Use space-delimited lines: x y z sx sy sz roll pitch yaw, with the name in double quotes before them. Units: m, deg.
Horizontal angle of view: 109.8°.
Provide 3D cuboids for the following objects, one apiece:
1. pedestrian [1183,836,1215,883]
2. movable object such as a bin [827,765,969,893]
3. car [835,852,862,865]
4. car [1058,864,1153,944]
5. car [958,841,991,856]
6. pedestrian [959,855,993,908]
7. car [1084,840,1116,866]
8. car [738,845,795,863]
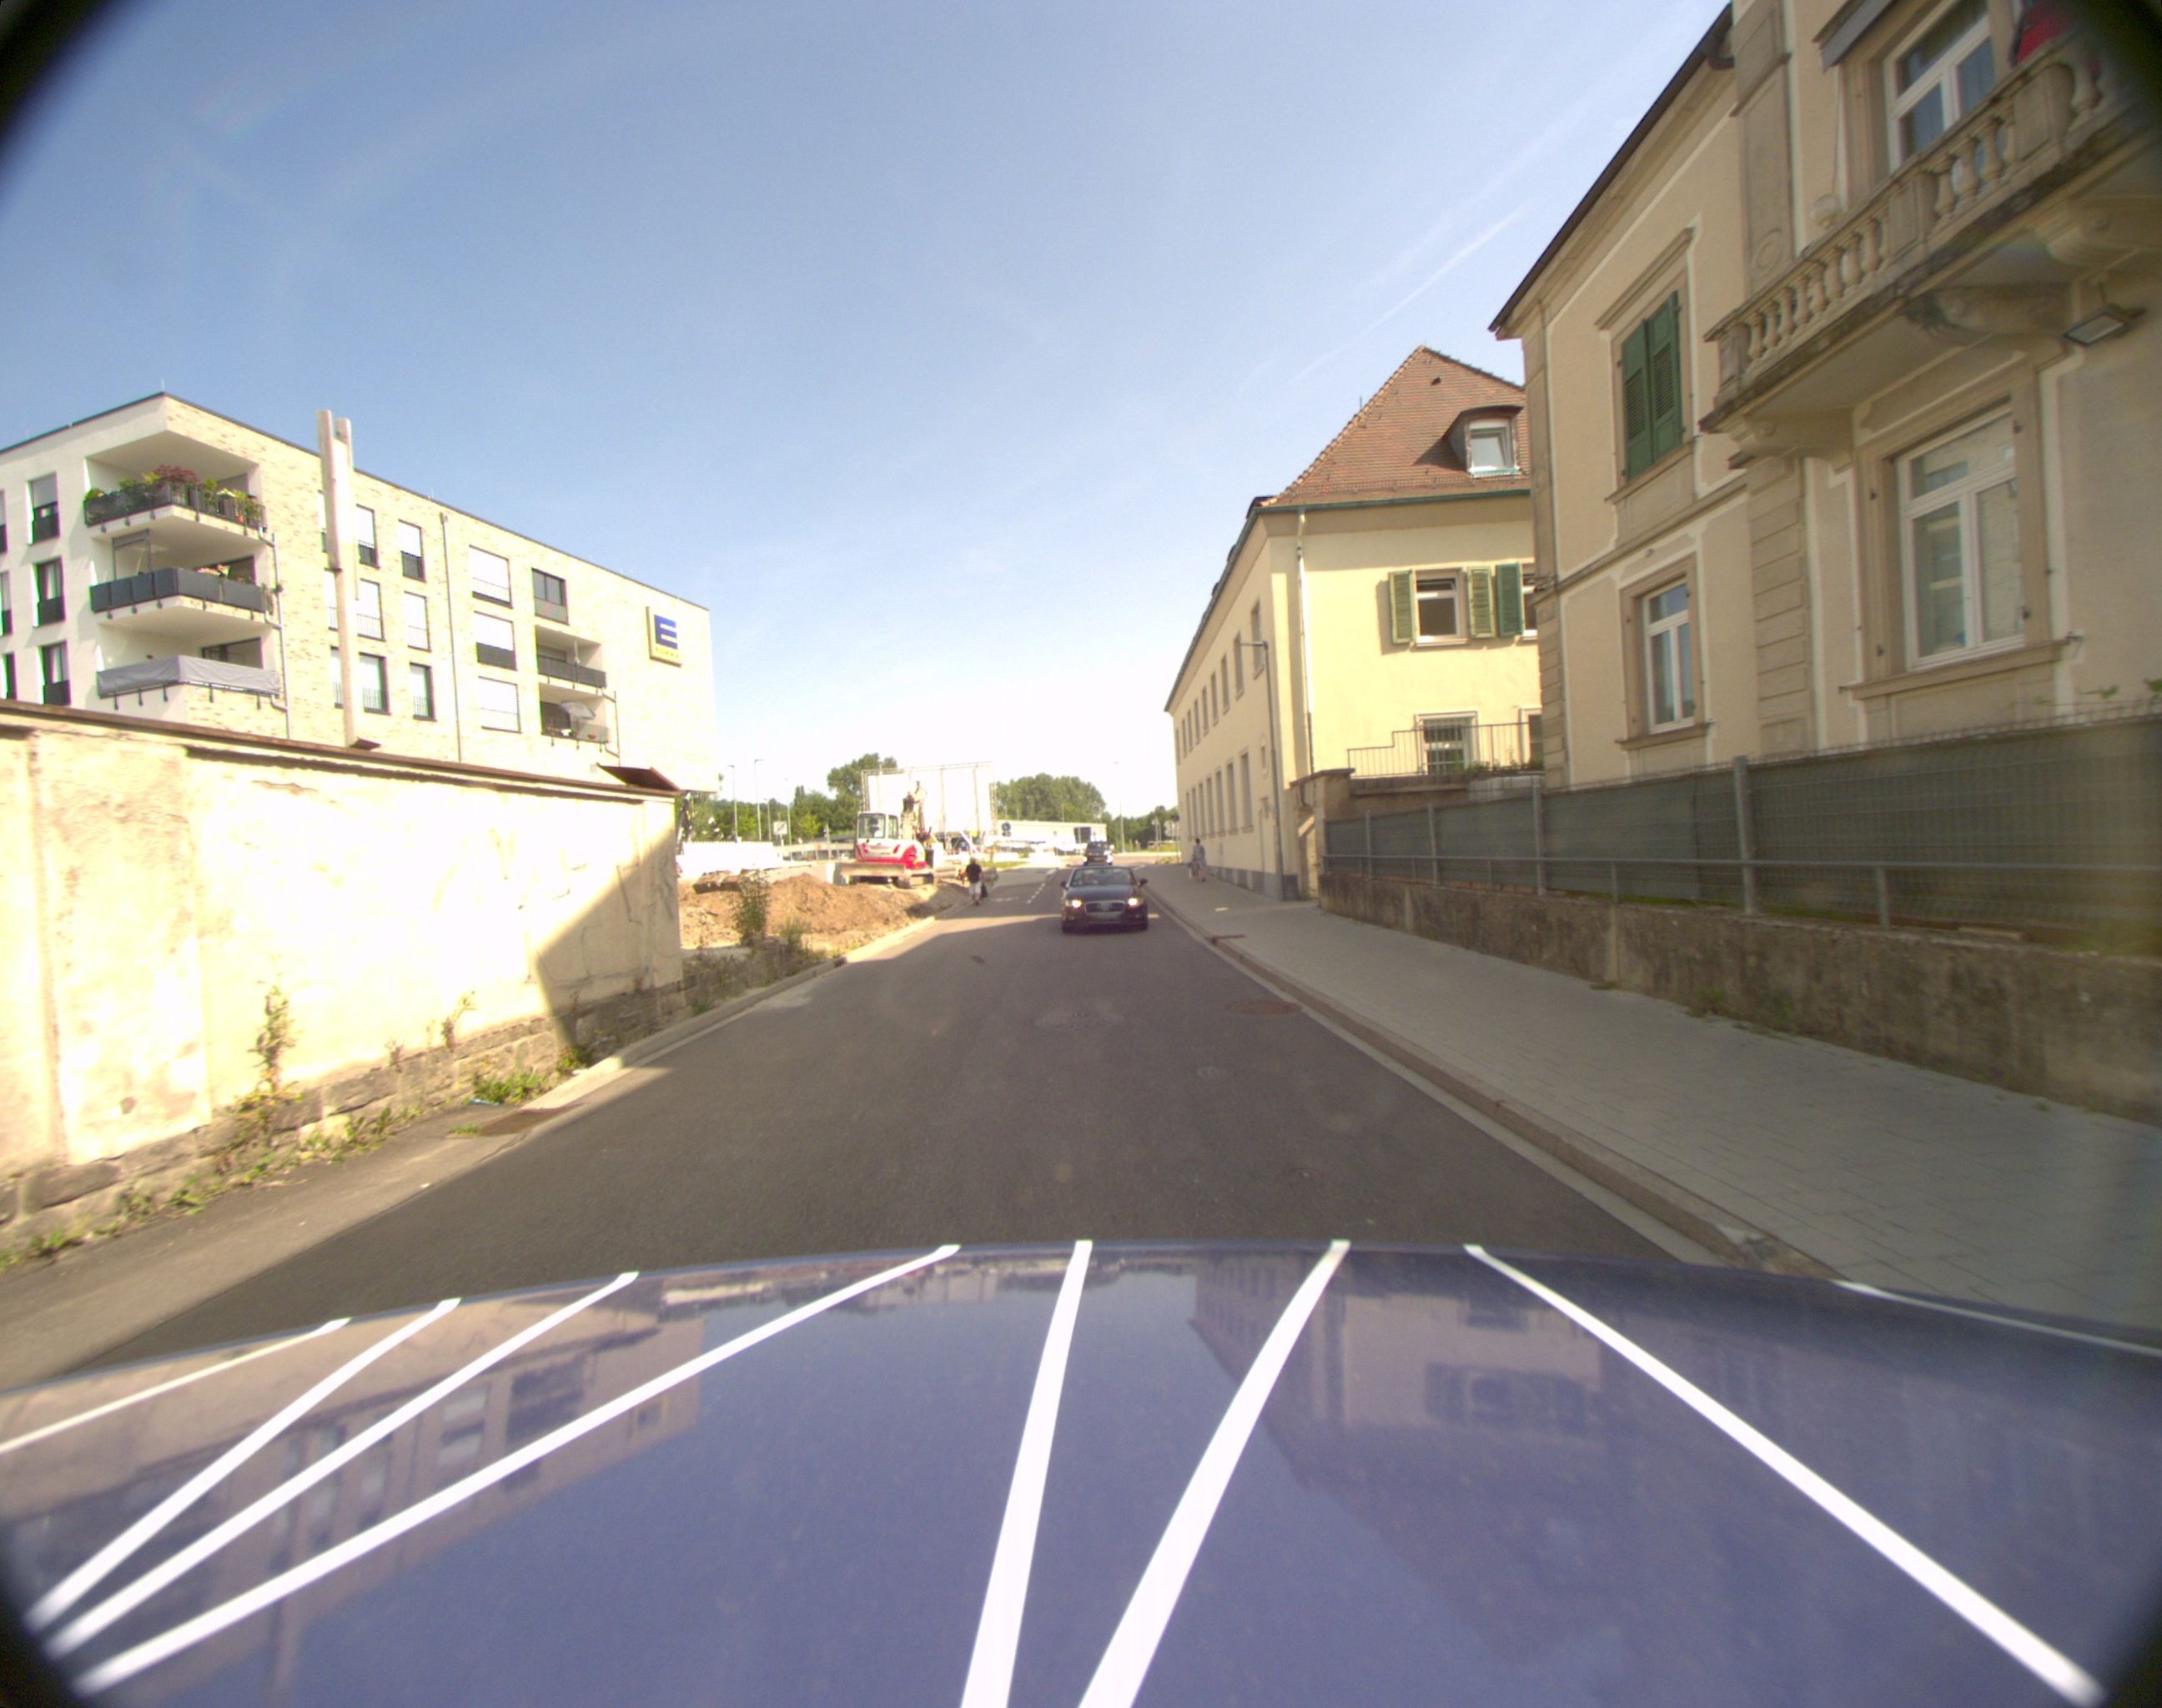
"pedestrian" 4.340 0.196 28.006 0.960 1.622 0.758 -4 1 1
"movable object such as a bin" -6.374 -0.863 27.929 2.300 3.832 7.800 -6 1 5
"car" -32.052 0.610 104.817 1.663 1.564 3.791 -6 -1 18
"car" 0.576 0.970 16.296 1.721 1.314 4.224 -2 1 3
"car" -14.323 -0.698 102.244 4.018 1.564 1.780 -6 0 3
"pedestrian" -3.569 0.921 25.849 0.890 1.673 0.718 -5 2 1
"car" 1.240 -0.104 47.490 1.642 1.385 4.230 -3 2 6
"car" -29.479 0.027 71.311 4.812 1.546 1.861 -1 -1 17
